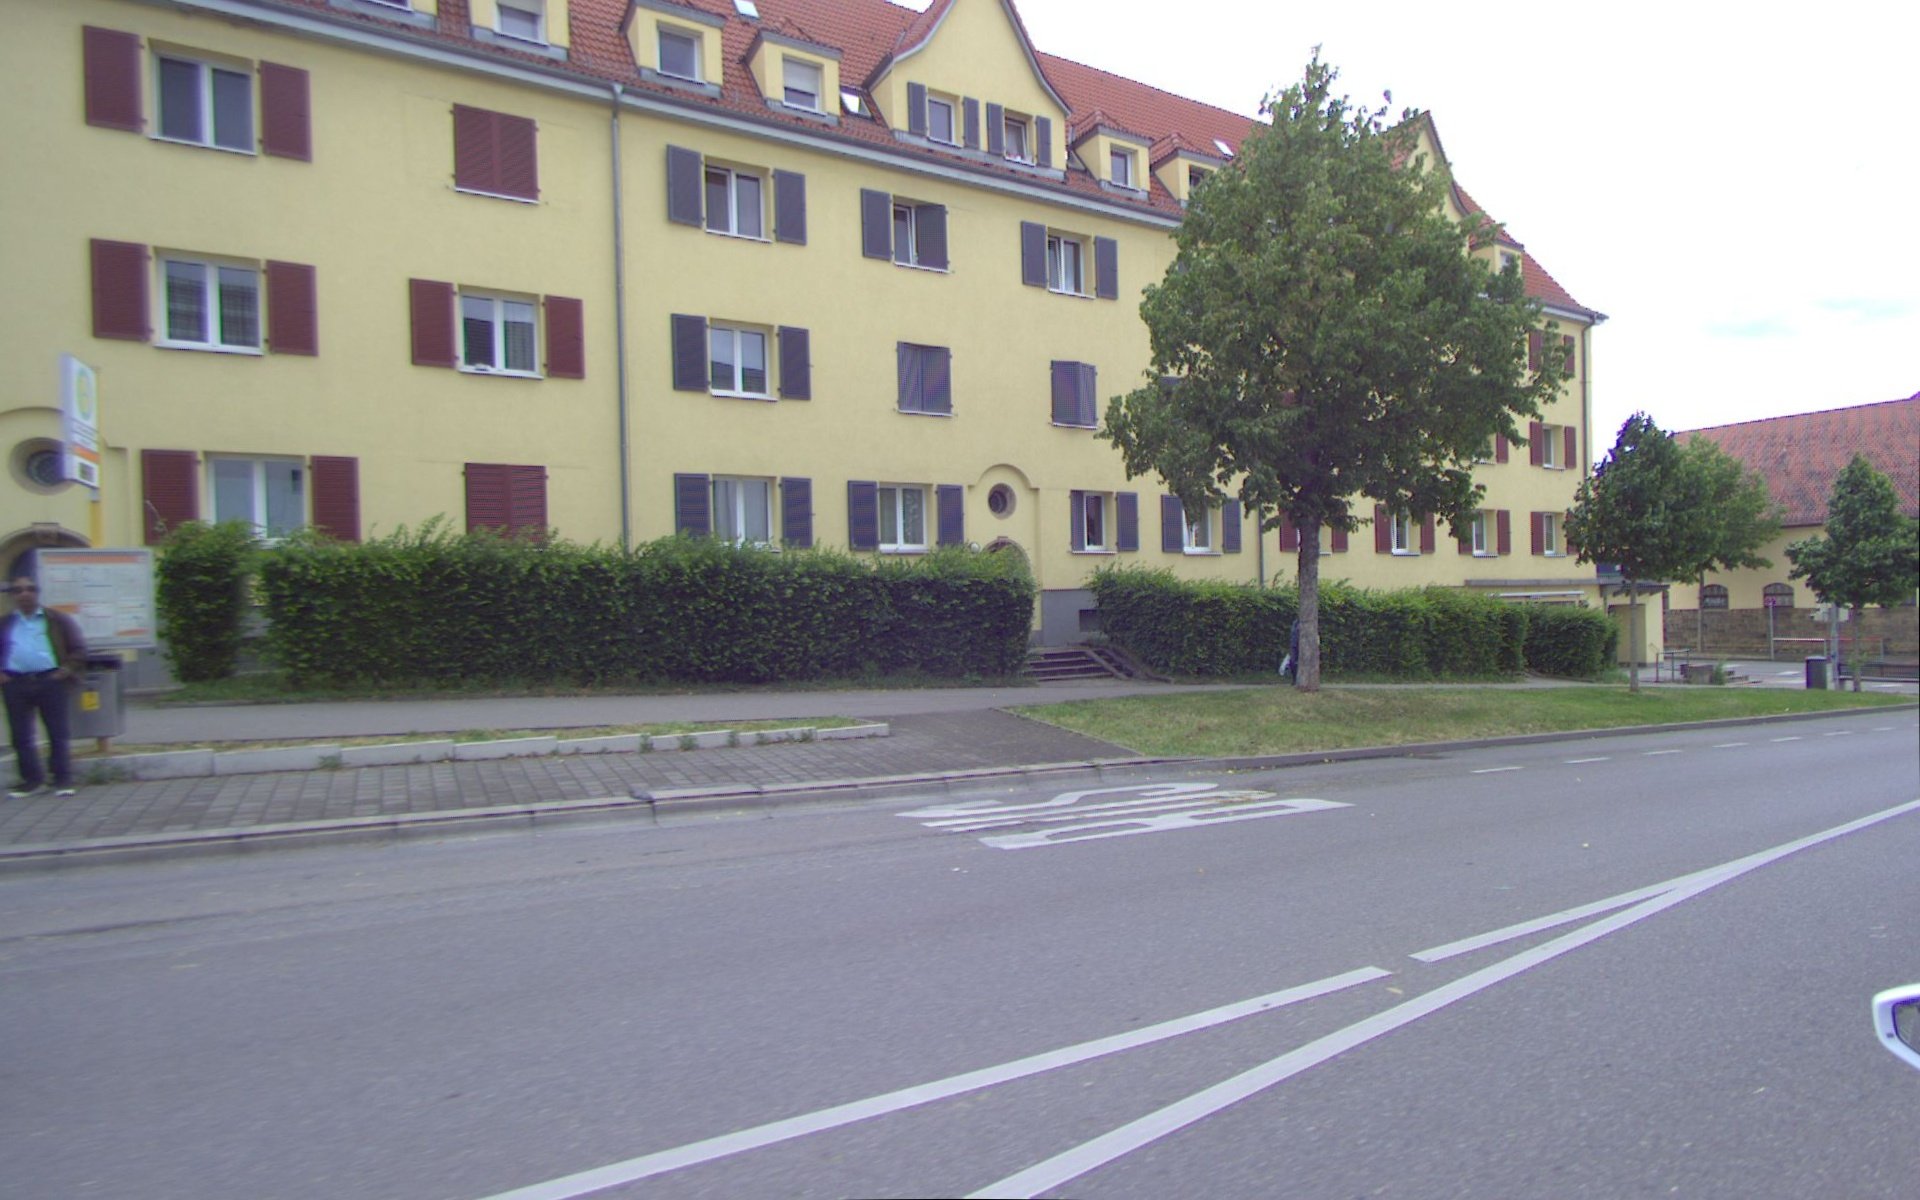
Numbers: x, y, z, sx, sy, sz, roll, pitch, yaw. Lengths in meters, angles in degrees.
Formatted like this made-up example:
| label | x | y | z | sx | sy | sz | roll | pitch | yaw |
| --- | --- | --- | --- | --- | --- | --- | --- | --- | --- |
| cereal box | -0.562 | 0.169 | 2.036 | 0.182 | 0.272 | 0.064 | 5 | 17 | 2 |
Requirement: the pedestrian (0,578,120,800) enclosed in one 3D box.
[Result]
| label | x | y | z | sx | sy | sz | roll | pitch | yaw |
| --- | --- | --- | --- | --- | --- | --- | --- | --- | --- |
| pedestrian | -7.562 | 0.705 | 8.278 | 0.850 | 1.750 | 0.595 | 1 | 0 | -28 |

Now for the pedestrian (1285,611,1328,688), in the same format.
| label | x | y | z | sx | sy | sz | roll | pitch | yaw |
| --- | --- | --- | --- | --- | --- | --- | --- | --- | --- |
| pedestrian | 7.513 | 1.058 | 21.794 | 0.611 | 1.640 | 0.637 | 1 | -1 | -31 |
